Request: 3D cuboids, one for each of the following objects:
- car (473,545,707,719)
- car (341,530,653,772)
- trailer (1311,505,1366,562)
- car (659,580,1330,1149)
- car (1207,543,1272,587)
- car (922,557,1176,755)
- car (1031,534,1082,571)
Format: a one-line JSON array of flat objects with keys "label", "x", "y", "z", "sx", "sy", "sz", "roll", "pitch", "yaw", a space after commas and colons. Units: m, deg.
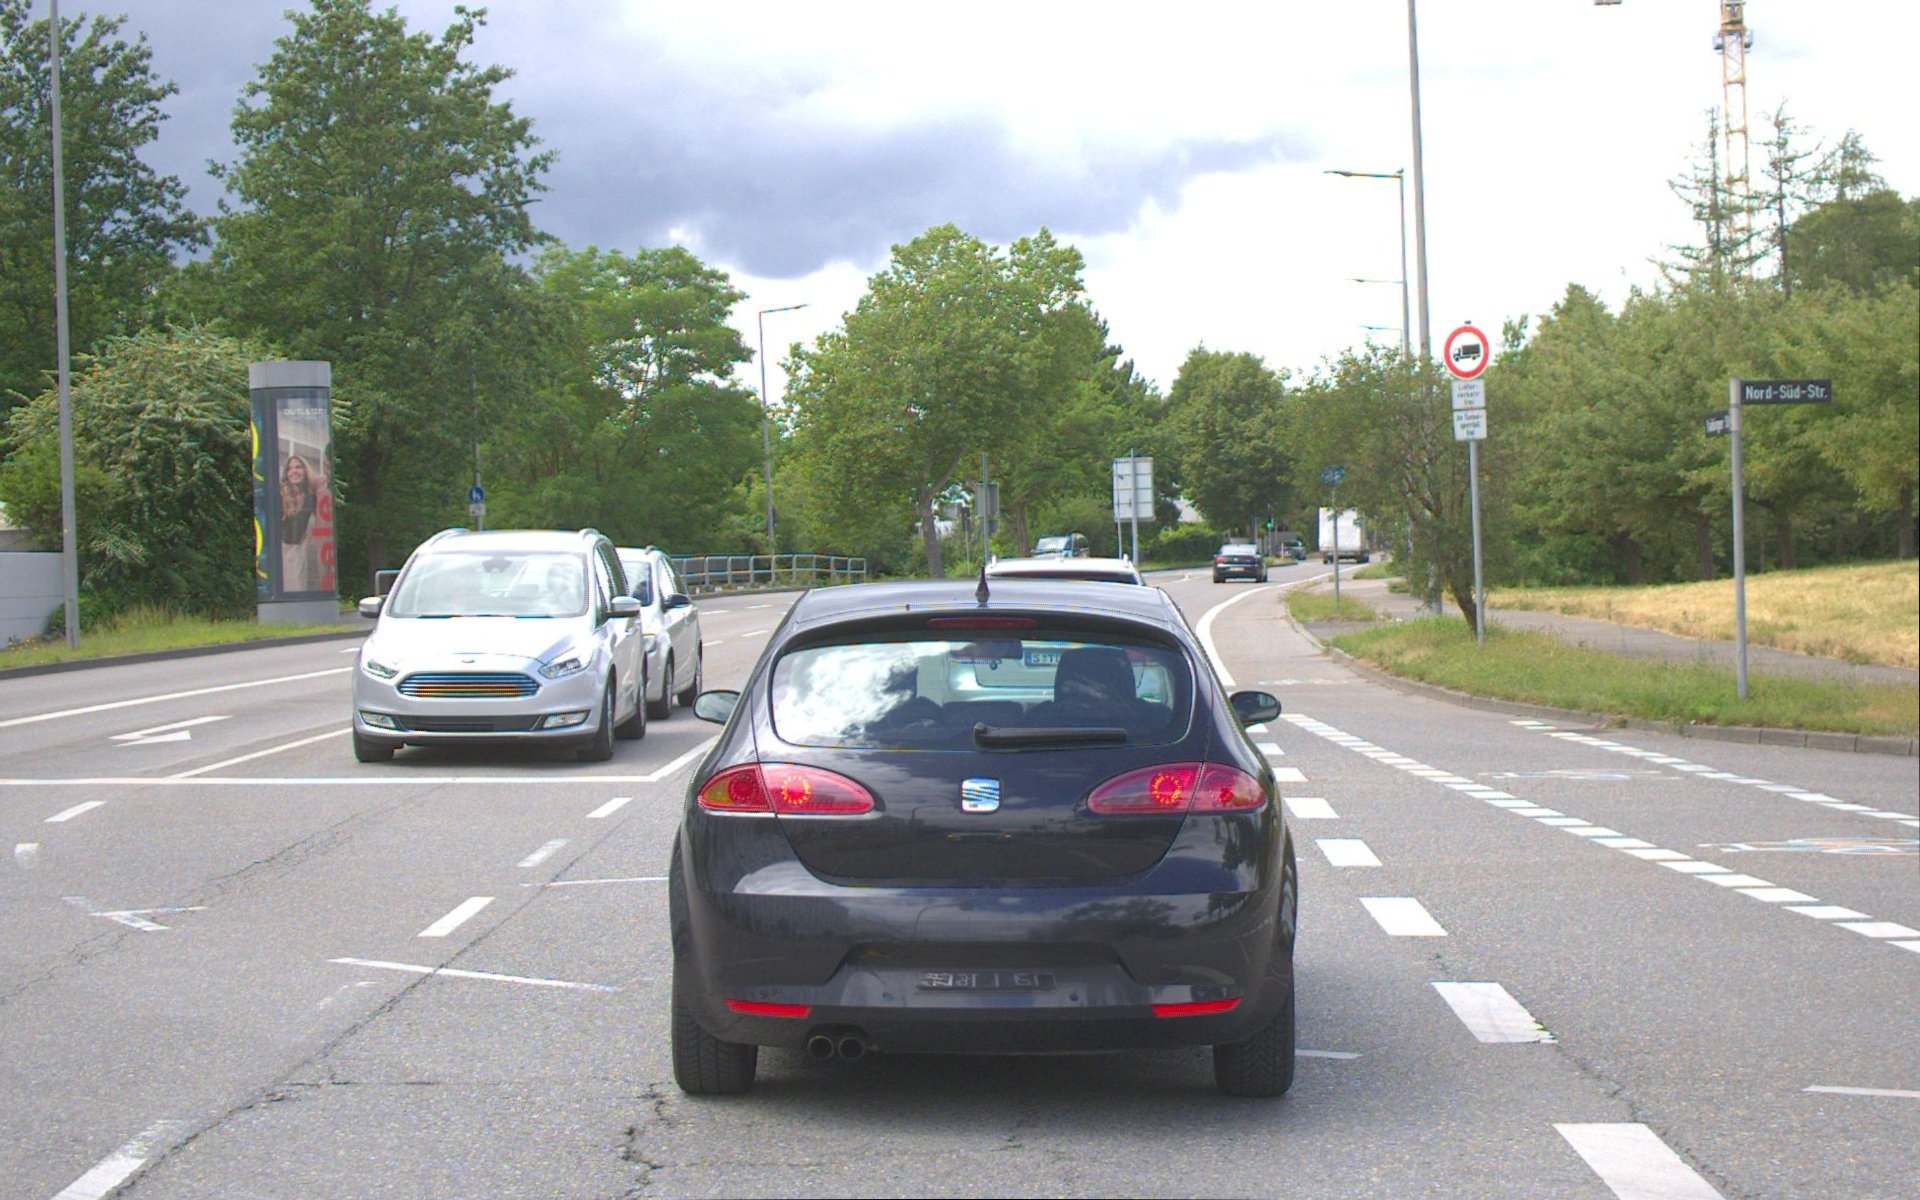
[{"label": "car", "x": -3.419, "y": 0.247, "z": 32.432, "sx": 1.660, "sy": 1.513, "sz": 4.084, "roll": 0, "pitch": 1, "yaw": 2}, {"label": "car", "x": -3.453, "y": 0.314, "z": 26.427, "sx": 1.820, "sy": 1.681, "sz": 4.645, "roll": 0, "pitch": 1, "yaw": -1}, {"label": "trailer", "x": 20.706, "y": -3.615, "z": 187.789, "sx": 2.492, "sy": 3.063, "sz": 5.584, "roll": 0, "pitch": 0, "yaw": 11}, {"label": "car", "x": 0.018, "y": 0.667, "z": 10.514, "sx": 1.711, "sy": 1.412, "sz": 3.460, "roll": 0, "pitch": 1, "yaw": -2}, {"label": "car", "x": 10.314, "y": -1.316, "z": 126.772, "sx": 1.994, "sy": 1.560, "sz": 4.469, "roll": 0, "pitch": 1, "yaw": 10}, {"label": "car", "x": 0.642, "y": 0.406, "z": 27.403, "sx": 1.834, "sy": 1.462, "sz": 3.751, "roll": 0, "pitch": 0, "yaw": -1}, {"label": "car", "x": 4.208, "y": -2.061, "z": 149.387, "sx": 1.715, "sy": 1.576, "sz": 3.741, "roll": 0, "pitch": 0, "yaw": 10}]
